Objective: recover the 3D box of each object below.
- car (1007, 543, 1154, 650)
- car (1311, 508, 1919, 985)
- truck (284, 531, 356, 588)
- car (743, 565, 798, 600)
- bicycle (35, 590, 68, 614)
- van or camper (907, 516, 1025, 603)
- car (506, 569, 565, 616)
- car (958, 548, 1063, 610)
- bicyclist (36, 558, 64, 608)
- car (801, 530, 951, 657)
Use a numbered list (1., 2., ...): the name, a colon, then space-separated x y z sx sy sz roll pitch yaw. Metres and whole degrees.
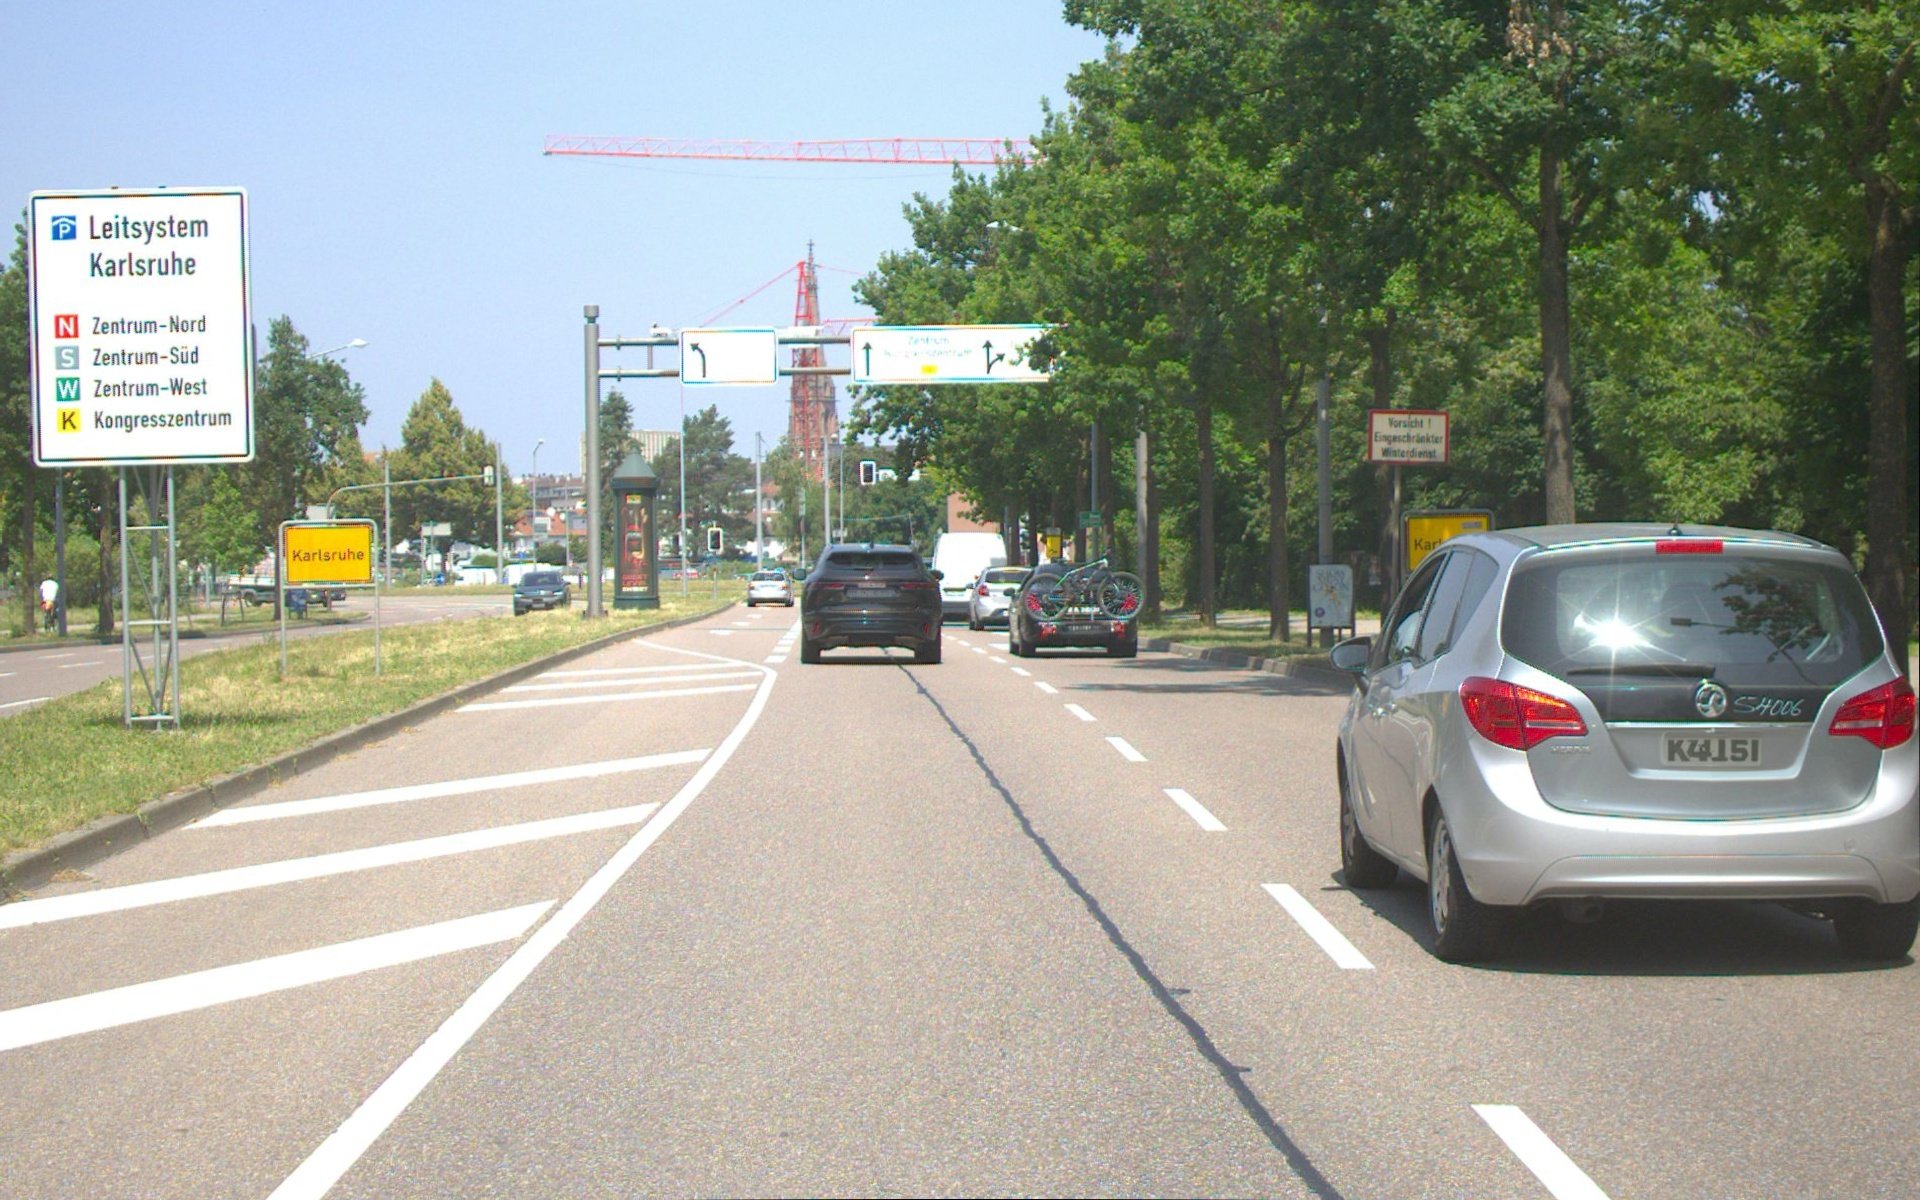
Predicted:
1. car: 1.768 -0.077 51.824 2.014 1.512 4.461 -1 1 0
2. car: 2.520 0.462 13.587 1.792 1.606 3.891 0 1 -1
3. truck: -30.209 -1.944 162.468 2.638 2.568 6.319 -1 1 -4
4. car: -7.645 -0.717 138.648 1.993 1.316 4.001 0 1 -6
5. bicycle: -27.402 0.048 103.729 0.481 0.713 1.850 -1 0 1
6. van or camper: 0.134 -1.112 94.493 2.493 2.283 4.922 -1 1 -9
7. car: -15.366 -0.288 124.672 1.892 1.605 4.535 -1 1 -4
8. car: 1.136 -0.494 79.472 1.654 1.351 4.462 -1 1 -9
9. bicyclist: -27.425 -0.515 103.647 0.623 1.484 0.757 -1 0 1
10. car: -1.151 -0.119 47.930 1.998 1.684 4.034 0 1 -1
